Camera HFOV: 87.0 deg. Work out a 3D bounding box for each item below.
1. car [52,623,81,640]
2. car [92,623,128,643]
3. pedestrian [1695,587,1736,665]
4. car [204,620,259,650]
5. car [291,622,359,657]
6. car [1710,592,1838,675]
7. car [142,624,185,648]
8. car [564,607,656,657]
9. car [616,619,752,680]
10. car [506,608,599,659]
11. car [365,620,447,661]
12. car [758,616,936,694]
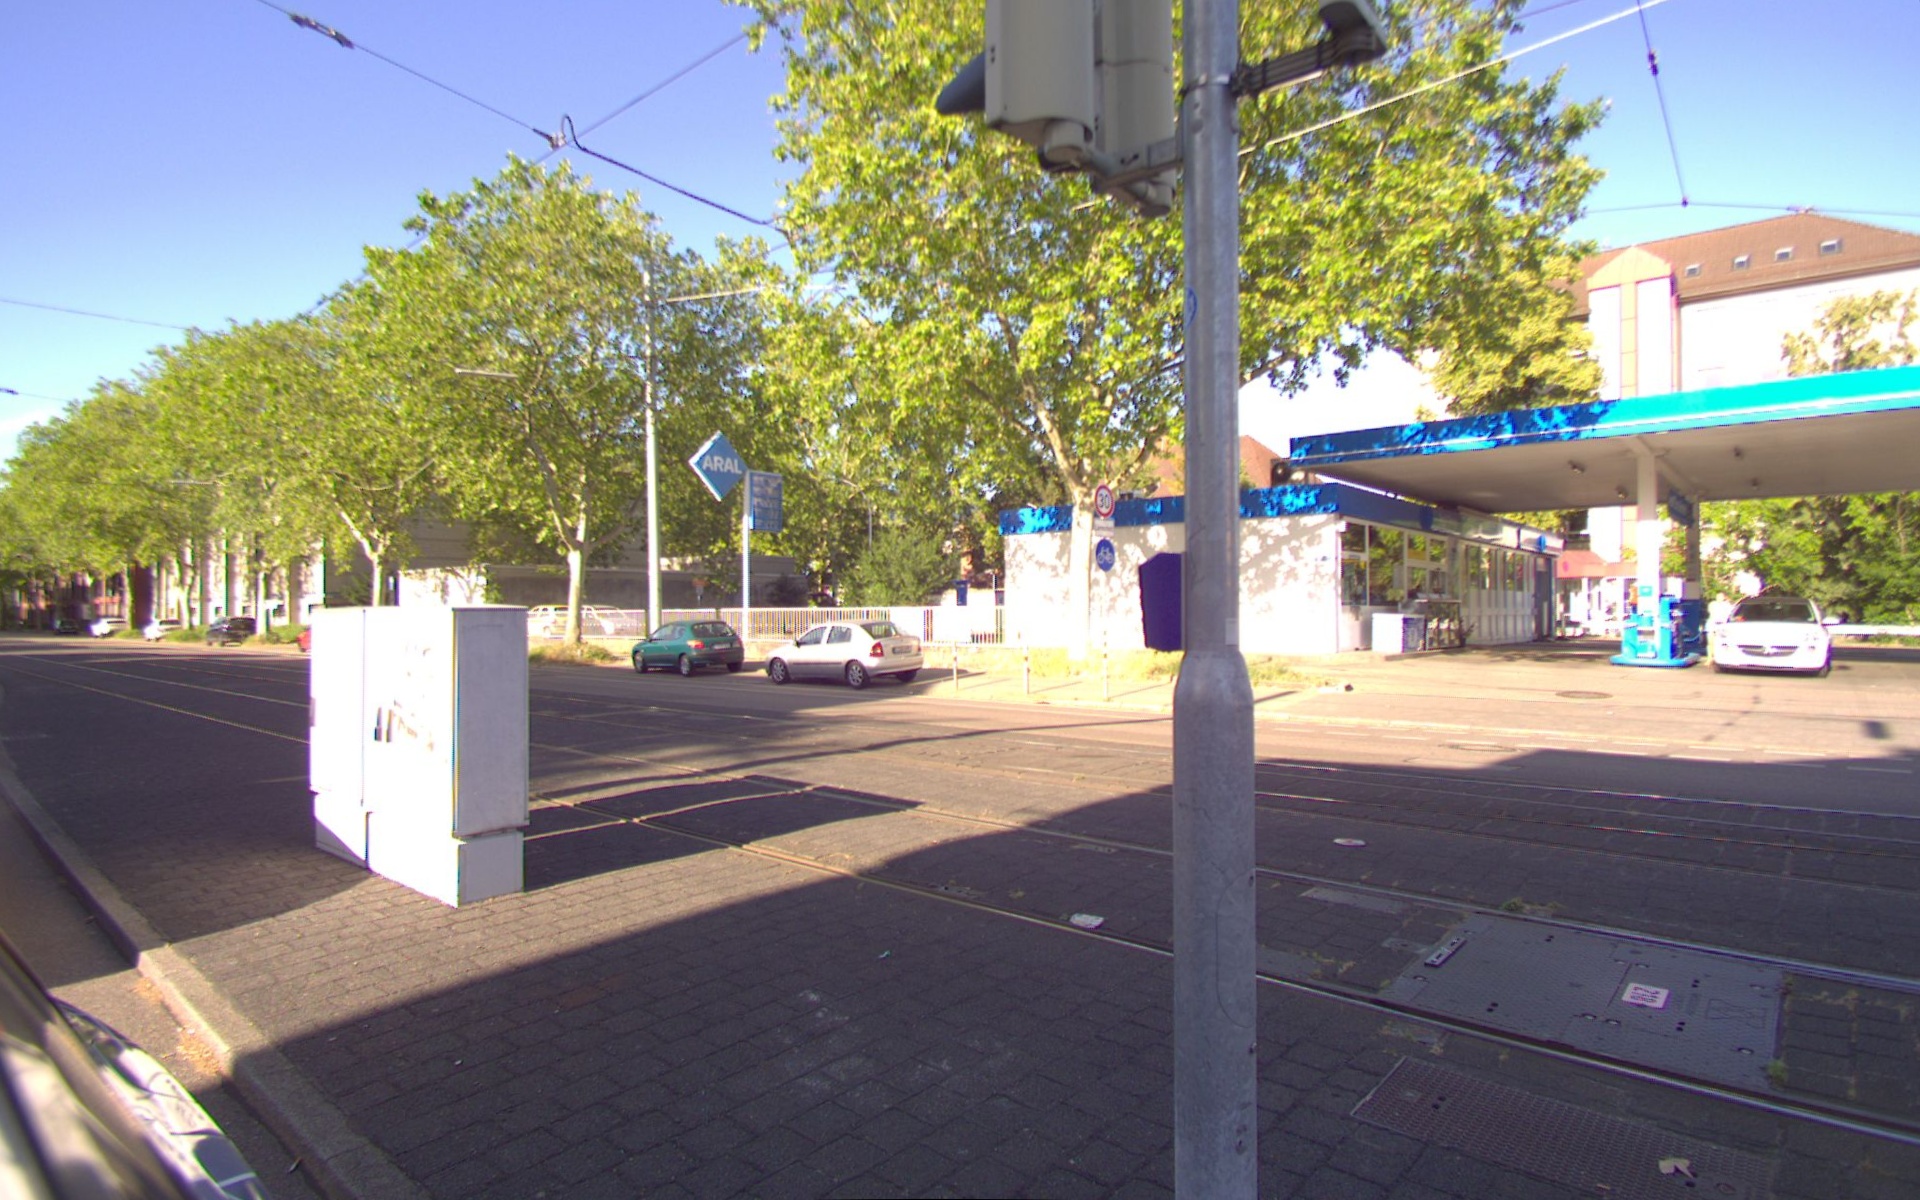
[{"bbox_3d":[-84.873,2.999,96.125,3.858,1.495,1.735,-1,0,43],"label":"car"},{"bbox_3d":[-66.927,2.568,79.650,3.858,1.495,1.735,-1,0,43],"label":"car"},{"bbox_3d":[16.138,0.552,21.626,0.646,1.642,0.802,-1,-2,39],"label":"pedestrian"},{"bbox_3d":[-40.677,1.947,56.493,3.858,1.557,1.735,-1,0,43],"label":"car"},{"bbox_3d":[-28.914,1.767,46.052,3.858,1.440,1.695,-1,0,43],"label":"car"},{"bbox_3d":[15.937,0.612,19.787,1.793,1.453,3.946,-1,-1,40],"label":"car"},{"bbox_3d":[-53.640,2.389,68.130,3.858,1.495,1.735,-1,0,43],"label":"car"},{"bbox_3d":[-15.148,1.358,43.697,3.996,2.029,1.974,-1,-1,39],"label":"car"},{"bbox_3d":[-7.436,1.270,27.082,3.858,1.408,1.722,-1,1,43],"label":"car"},{"bbox_3d":[-17.047,1.388,42.269,3.996,2.029,1.974,-1,-1,39],"label":"car"},{"bbox_3d":[-21.987,1.582,40.098,3.858,1.468,1.735,-1,0,43],"label":"car"},{"bbox_3d":[-2.576,1.163,22.602,3.857,1.497,1.823,-1,1,42],"label":"car"}]
